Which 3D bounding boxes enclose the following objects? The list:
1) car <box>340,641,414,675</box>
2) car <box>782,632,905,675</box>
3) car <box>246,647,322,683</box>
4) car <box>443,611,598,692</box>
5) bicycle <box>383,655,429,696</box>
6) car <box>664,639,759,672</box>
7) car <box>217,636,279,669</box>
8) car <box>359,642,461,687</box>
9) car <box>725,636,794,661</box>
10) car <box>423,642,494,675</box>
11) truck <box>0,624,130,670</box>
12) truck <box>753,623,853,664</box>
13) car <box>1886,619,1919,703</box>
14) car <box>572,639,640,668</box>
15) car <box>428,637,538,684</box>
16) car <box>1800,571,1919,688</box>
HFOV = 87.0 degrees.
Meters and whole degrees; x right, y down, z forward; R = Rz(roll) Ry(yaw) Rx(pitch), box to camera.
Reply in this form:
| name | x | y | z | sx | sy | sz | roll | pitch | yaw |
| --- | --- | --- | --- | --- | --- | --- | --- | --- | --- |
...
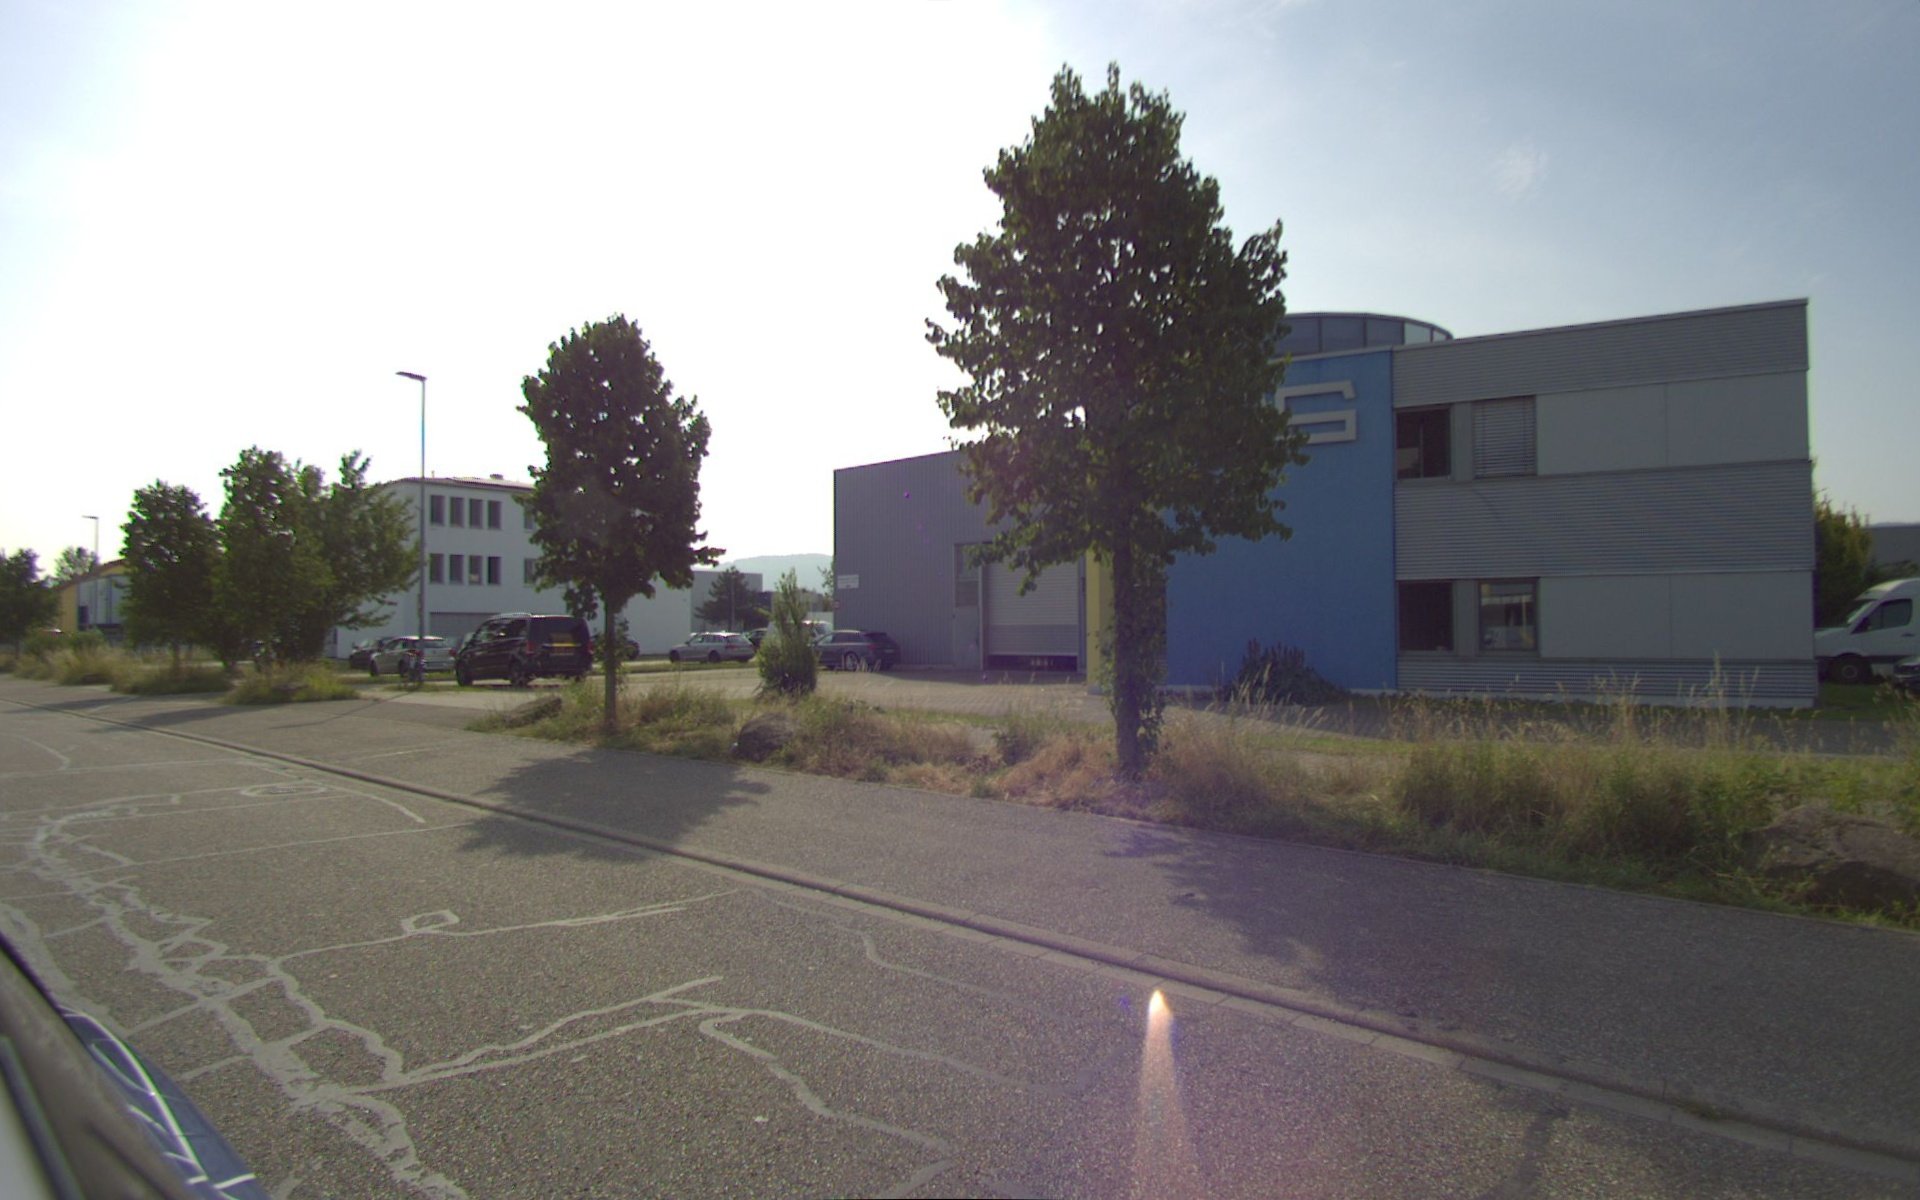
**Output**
| name | x | y | z | sx | sy | sz | roll | pitch | yaw |
| --- | --- | --- | --- | --- | --- | --- | --- | --- | --- |
| car | -26.342 | 2.599 | 45.684 | 3.917 | 1.479 | 1.736 | -3 | -3 | 42 |
| car | -4.347 | 1.950 | 37.306 | 4.778 | 1.472 | 1.697 | -3 | -3 | 40 |
| car | -28.744 | 2.736 | 43.000 | 3.917 | 1.420 | 1.736 | -3 | -3 | 42 |
| car | -12.068 | 1.413 | 27.640 | 4.987 | 2.029 | 1.862 | -3 | -4 | 40 |
| bicycle | -14.288 | 1.932 | 26.091 | 1.871 | 0.986 | 0.534 | -3 | -3 | 44 |
| car | -11.089 | 2.440 | 45.030 | 4.375 | 1.383 | 1.716 | -2 | -3 | 37 |
| car | -41.655 | 3.051 | 59.180 | 4.694 | 1.852 | 1.972 | -3 | -3 | 42 |
| car | -19.189 | 2.214 | 35.260 | 3.913 | 1.460 | 1.768 | -2 | -3 | 39 |
| car | -12.294 | 2.971 | 61.979 | 4.562 | 1.479 | 1.736 | -3 | -3 | 42 |
| car | -23.972 | 2.770 | 48.312 | 3.917 | 1.479 | 1.736 | -3 | -3 | 42 |
| truck | -59.601 | 3.163 | 66.340 | 2.483 | 2.855 | 8.829 | 0 | -4 | 5 |
| truck | -7.718 | 2.144 | 49.559 | 4.945 | 1.918 | 1.975 | -2 | -3 | 38 |
| car | 19.348 | 1.077 | 17.581 | 4.498 | 1.492 | 1.566 | -1 | -2 | 25 |
| car | -18.776 | 2.839 | 53.659 | 3.917 | 1.479 | 1.736 | -3 | -3 | 42 |
| car | -17.491 | 2.182 | 37.026 | 4.505 | 1.619 | 1.922 | -2 | -3 | 40 |
| car | 23.610 | 0.685 | 23.702 | 5.716 | 2.715 | 1.697 | -1 | -2 | 24 |
